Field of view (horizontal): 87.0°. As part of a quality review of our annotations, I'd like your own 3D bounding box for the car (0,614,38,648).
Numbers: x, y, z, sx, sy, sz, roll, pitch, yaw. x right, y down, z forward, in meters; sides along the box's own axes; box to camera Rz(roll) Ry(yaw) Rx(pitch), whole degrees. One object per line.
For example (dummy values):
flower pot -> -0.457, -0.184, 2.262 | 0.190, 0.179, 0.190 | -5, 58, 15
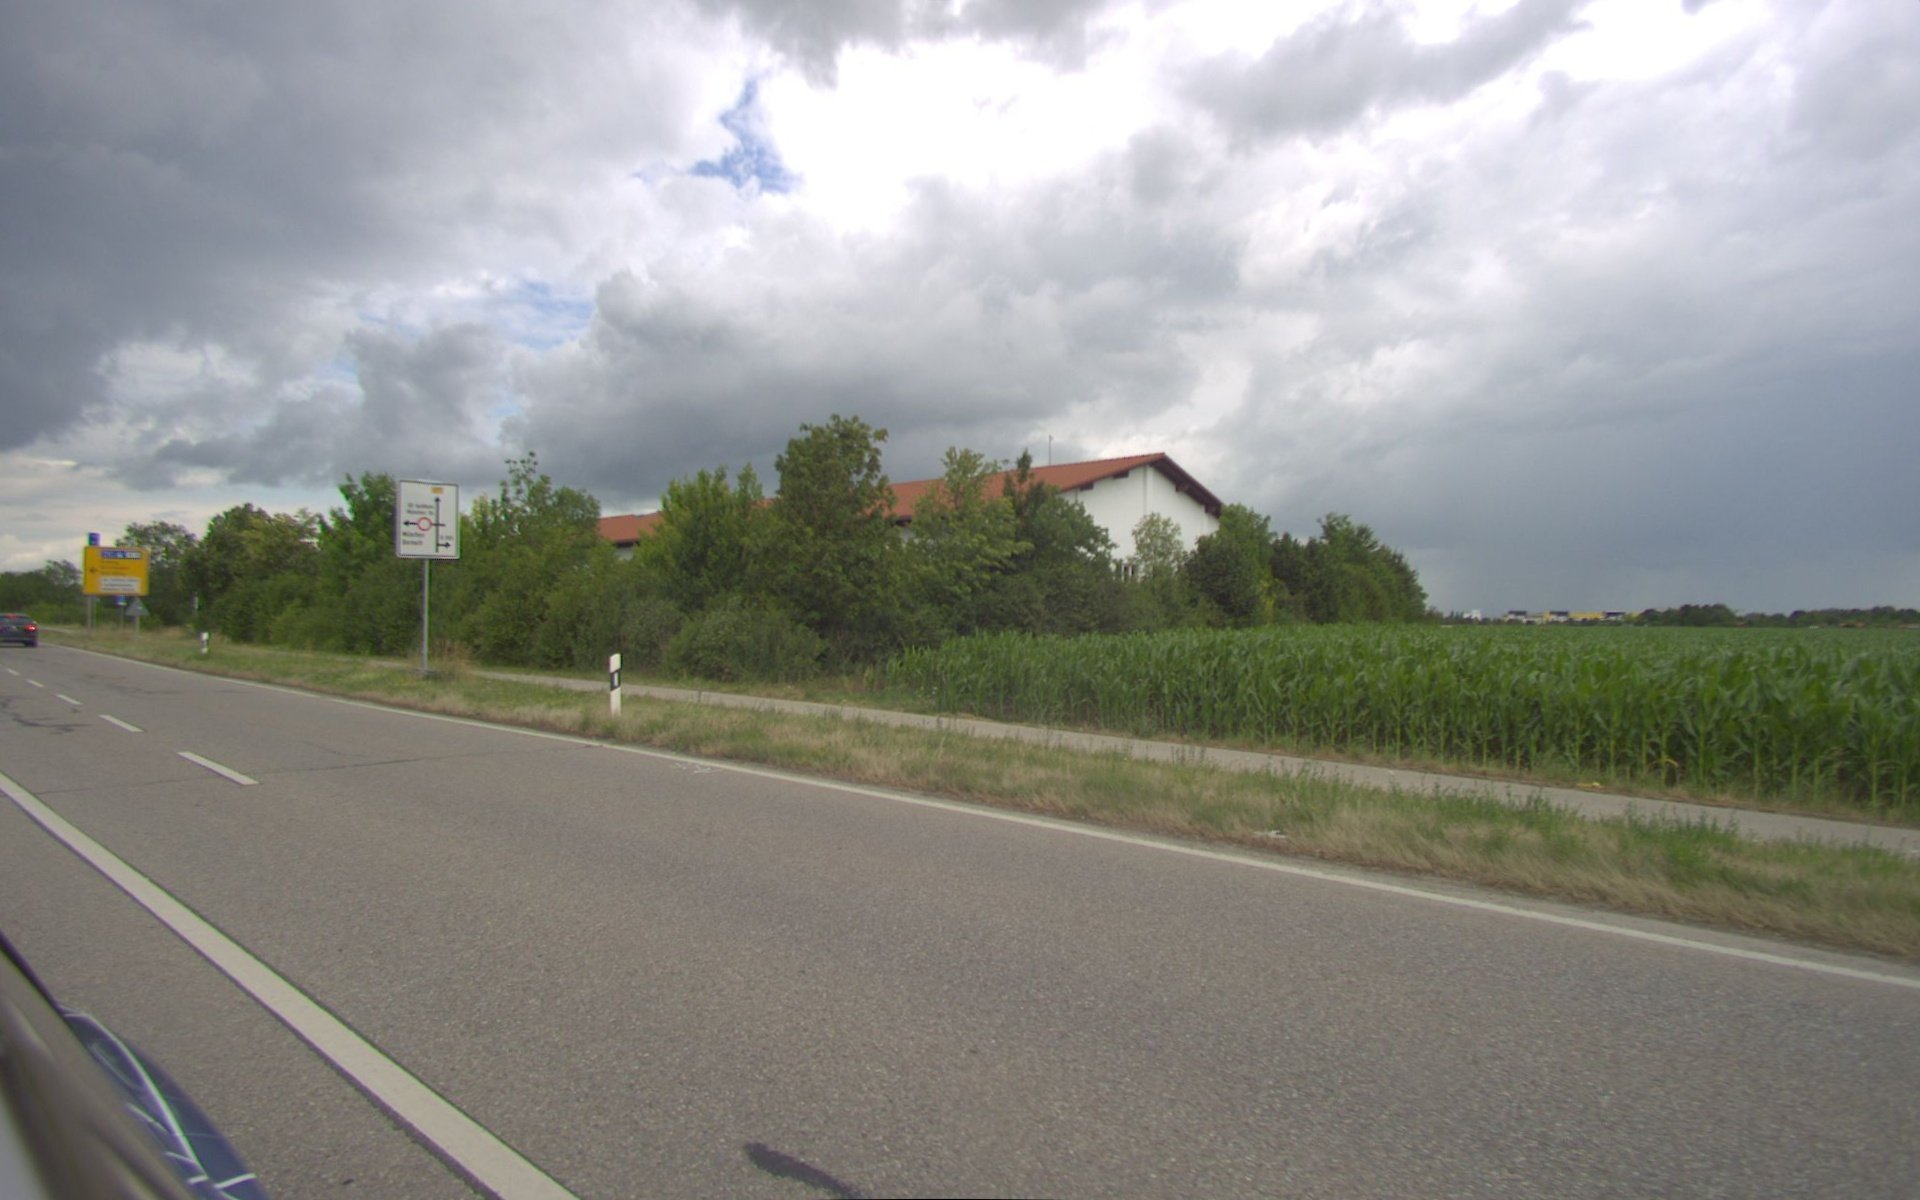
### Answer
car -> -42.126, 1.331, 44.666 | 4.301, 1.440, 1.651 | 0, -3, 42
